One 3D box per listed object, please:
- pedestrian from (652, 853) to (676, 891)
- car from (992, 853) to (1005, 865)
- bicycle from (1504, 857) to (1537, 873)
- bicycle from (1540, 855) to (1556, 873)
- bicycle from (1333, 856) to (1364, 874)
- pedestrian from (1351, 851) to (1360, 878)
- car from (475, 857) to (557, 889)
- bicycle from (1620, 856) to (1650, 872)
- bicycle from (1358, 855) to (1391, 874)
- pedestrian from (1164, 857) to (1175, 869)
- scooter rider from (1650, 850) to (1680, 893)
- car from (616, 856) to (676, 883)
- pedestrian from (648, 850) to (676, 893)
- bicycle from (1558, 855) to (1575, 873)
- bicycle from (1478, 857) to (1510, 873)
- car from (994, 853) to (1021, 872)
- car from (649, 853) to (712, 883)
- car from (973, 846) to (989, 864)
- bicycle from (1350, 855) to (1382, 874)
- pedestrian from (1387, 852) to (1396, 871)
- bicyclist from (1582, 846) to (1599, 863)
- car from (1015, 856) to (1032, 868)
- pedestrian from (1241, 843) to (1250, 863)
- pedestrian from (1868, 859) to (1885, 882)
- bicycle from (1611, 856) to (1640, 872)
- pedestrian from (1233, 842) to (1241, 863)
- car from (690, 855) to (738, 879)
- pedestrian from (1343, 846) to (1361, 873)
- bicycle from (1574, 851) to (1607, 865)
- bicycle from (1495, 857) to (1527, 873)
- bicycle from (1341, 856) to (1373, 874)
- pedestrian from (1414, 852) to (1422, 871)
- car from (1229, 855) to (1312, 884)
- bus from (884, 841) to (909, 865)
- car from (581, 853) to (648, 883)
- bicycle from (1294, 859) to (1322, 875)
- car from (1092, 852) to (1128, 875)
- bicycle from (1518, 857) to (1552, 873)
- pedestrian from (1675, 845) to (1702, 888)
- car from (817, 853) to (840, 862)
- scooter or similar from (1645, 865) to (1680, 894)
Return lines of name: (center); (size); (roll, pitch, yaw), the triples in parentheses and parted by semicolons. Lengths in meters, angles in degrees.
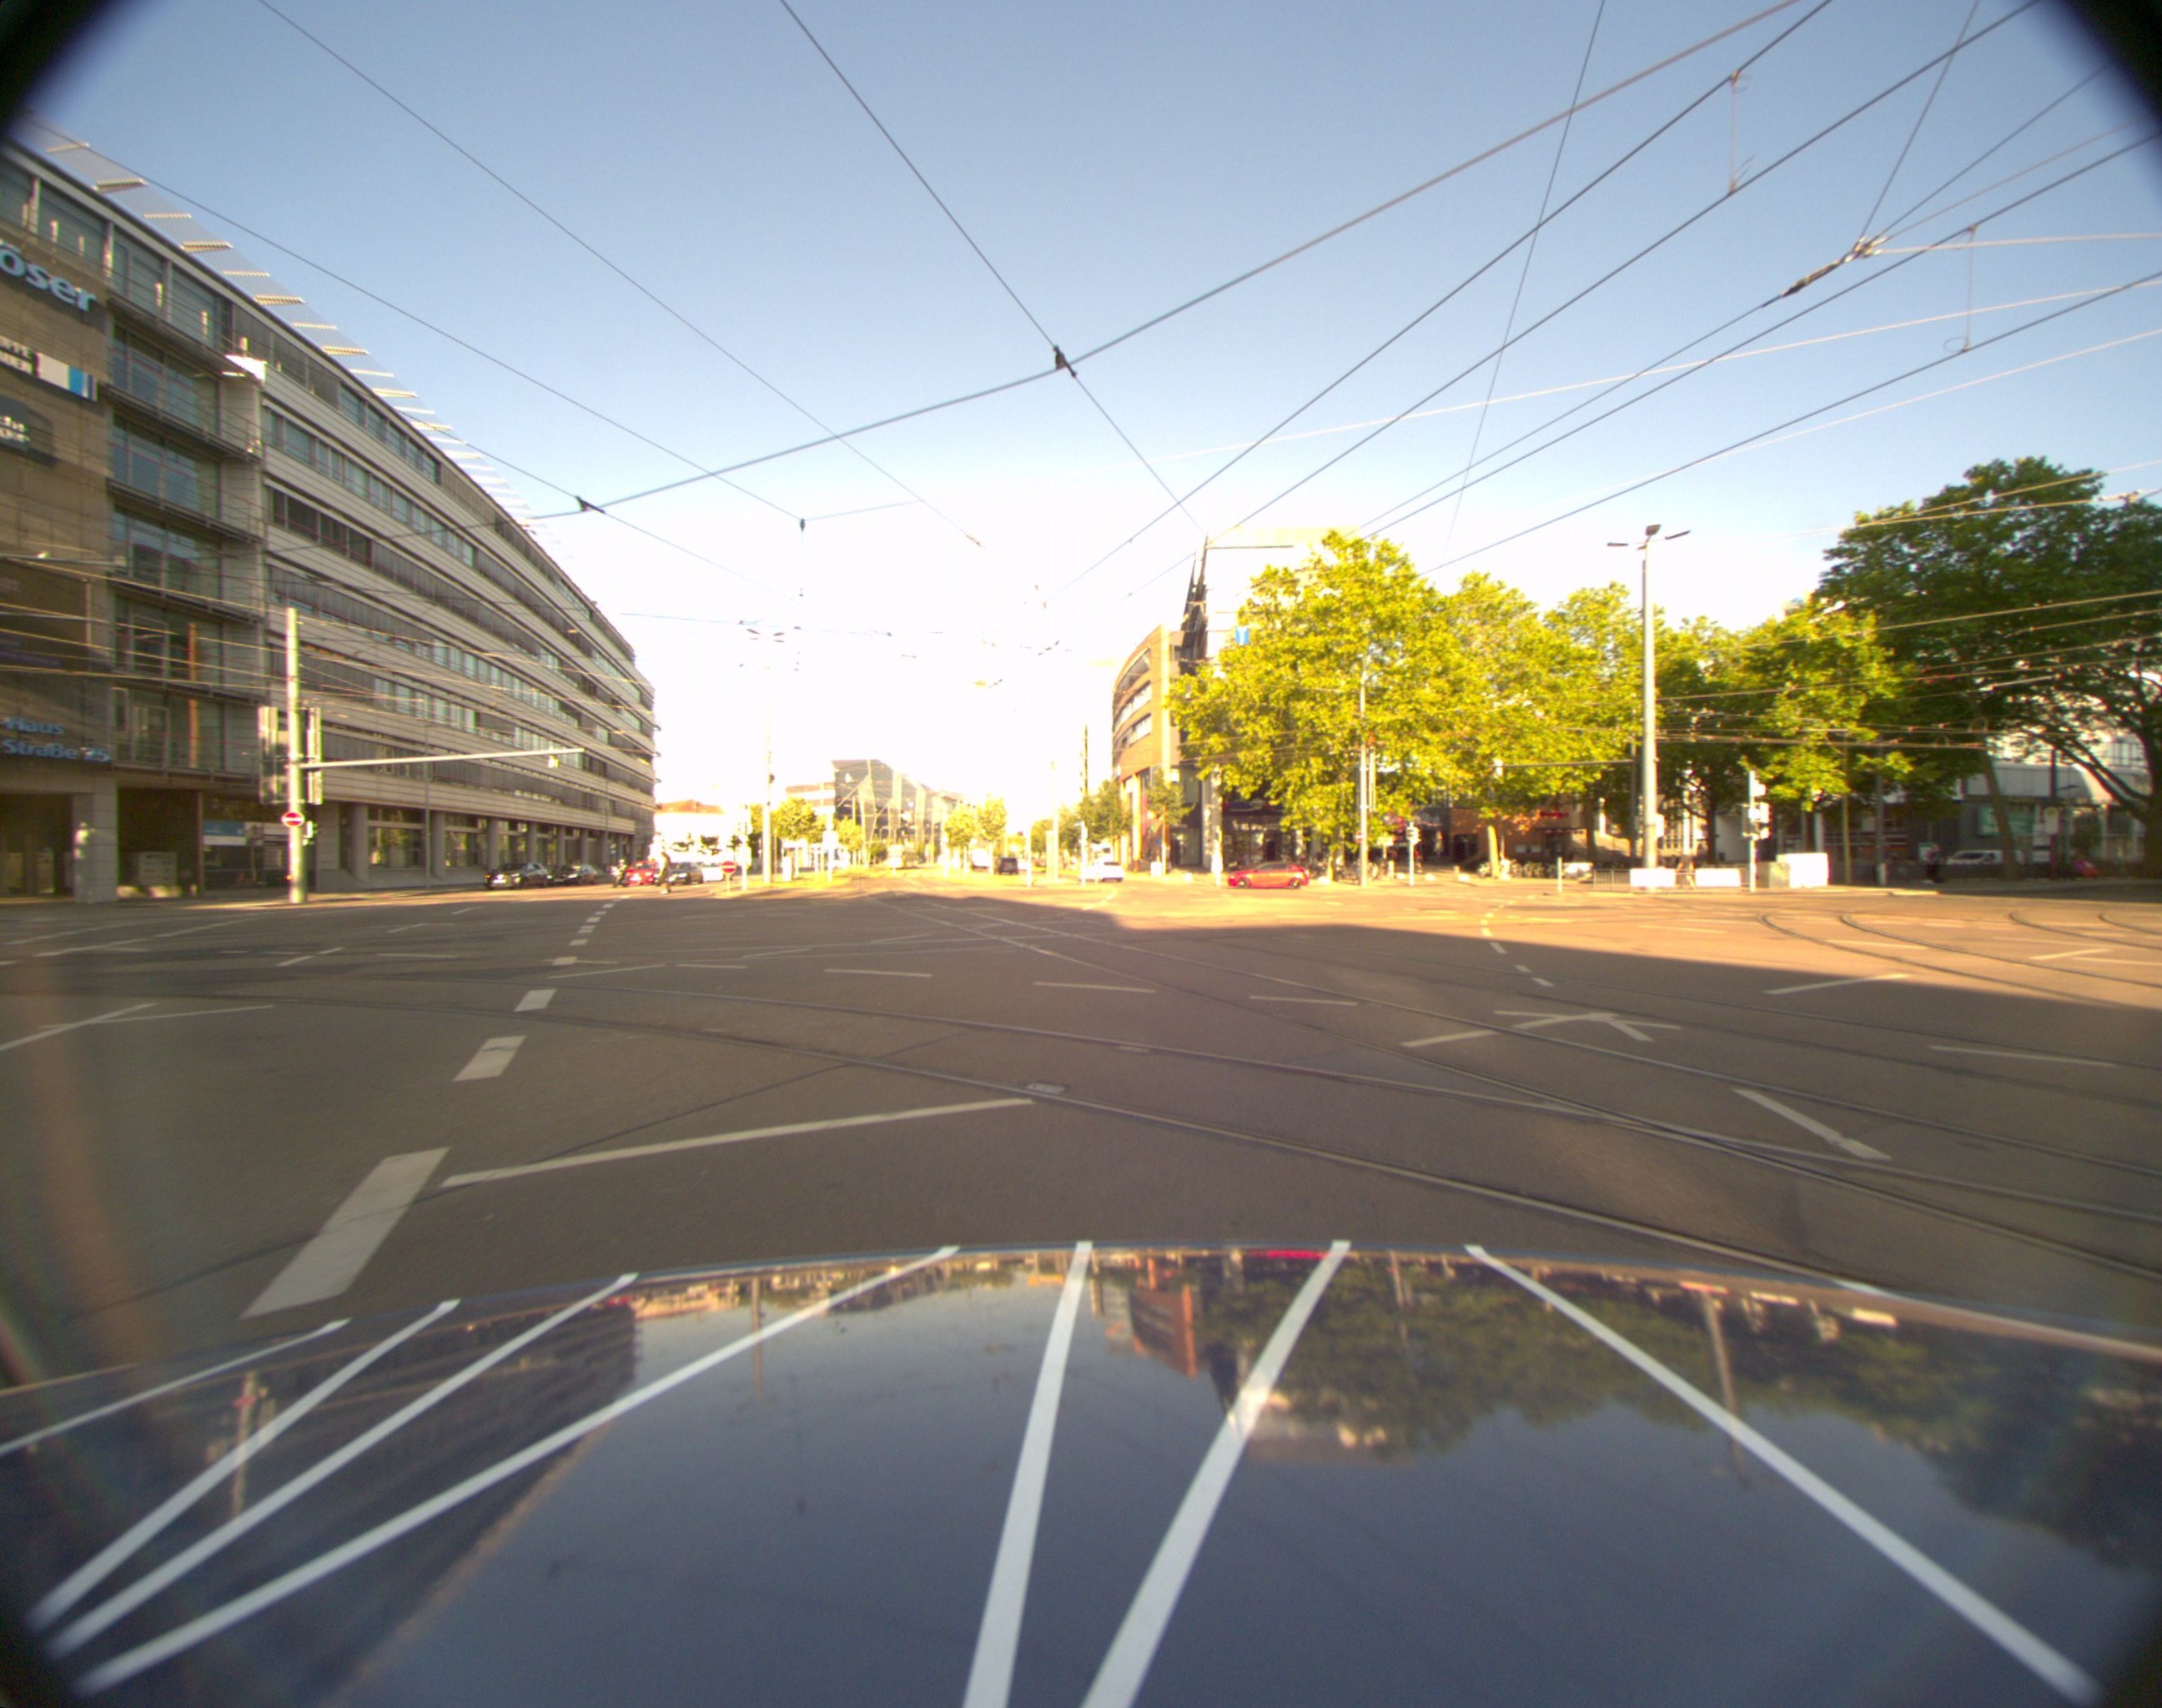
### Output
pedestrian: (-18.487, 0.785, 33.673); (0.848, 1.678, 0.646); (-1, 1, -38)
car: (-13.817, 0.817, 127.551); (1.610, 2.002, 3.887); (0, 0, 3)
bicycle: (29.734, 0.745, 51.416); (1.948, 1.057, 0.782); (0, 1, -15)
bicycle: (32.360, 0.697, 52.694); (0.781, 1.182, 3.565); (0, 1, 29)
bicycle: (17.301, 0.678, 49.153); (1.845, 1.123, 0.774); (0, 1, -19)
pedestrian: (15.673, 0.609, 43.350); (0.483, 1.529, 0.573); (0, 1, 20)
car: (-30.882, 1.013, 41.710); (1.905, 1.611, 4.168); (0, -1, -10)
bicycle: (38.680, 0.690, 53.052); (1.948, 1.057, 0.577); (0, 1, -15)
bicycle: (18.046, 0.647, 46.761); (1.845, 1.123, 0.774); (0, 1, -19)
pedestrian: (8.037, 0.821, 68.804); (0.778, 1.075, 0.680); (-1, 1, -27)
scooter rider: (24.693, 0.733, 32.134); (0.589, 1.822, 0.762); (0, 1, -10)
car: (-26.807, 0.936, 46.974); (1.905, 1.611, 4.168); (0, -1, -10)
pedestrian: (-18.204, 0.749, 33.026); (0.968, 1.832, 0.697); (-1, 1, -38)
bicycle: (33.516, 0.686, 52.449); (0.781, 1.182, 3.565); (0, 1, 29)
bicycle: (28.775, 0.769, 52.990); (1.948, 1.057, 0.782); (0, 1, -15)
car: (-6.658, 0.797, 68.464); (1.620, 1.593, 4.170); (2, -1, -16)
car: (-23.148, 0.797, 44.116); (1.905, 1.611, 4.520); (0, -1, -10)
car: (-13.747, 0.177, 104.811); (2.000, 2.465, 5.971); (0, -1, -6)
bicycle: (17.829, 0.657, 47.561); (1.845, 1.123, 0.774); (0, 1, -19)
pedestrian: (26.148, 0.631, 64.017); (0.570, 1.660, 0.543); (0, 1, -1)
bicyclist: (40.153, 0.044, 59.899); (0.957, 1.337, 0.676); (0, 1, 12)
car: (-7.825, 1.119, 103.241); (1.865, 1.622, 4.259); (0, 0, -9)
pedestrian: (13.889, -0.097, 64.115); (0.595, 1.647, 0.593); (0, 1, 3)
pedestrian: (35.619, 0.722, 34.038); (0.379, 1.026, 0.405); (-1, 1, -22)
bicycle: (38.584, 0.698, 53.841); (1.948, 1.057, 0.577); (0, 1, -15)
pedestrian: (13.120, -0.106, 63.942); (0.591, 1.745, 0.596); (0, 1, 16)
car: (-25.467, 0.907, 52.845); (1.905, 1.611, 4.168); (0, -1, -10)
pedestrian: (17.890, 0.373, 50.197); (0.894, 1.754, 0.730); (0, -1, -18)
bicycle: (40.130, 0.300, 59.893); (2.011, 1.061, 0.696); (0, 1, 11)
bicycle: (29.549, 0.755, 52.237); (1.948, 1.057, 0.782); (0, 1, -15)
bicycle: (17.545, 0.668, 48.348); (1.845, 1.123, 0.774); (0, 1, -19)
pedestrian: (28.539, 0.620, 64.333); (0.543, 1.660, 0.571); (0, 1, 14)
car: (9.604, 0.787, 38.723); (3.994, 1.419, 1.694); (0, 0, 10)
bus: (-27.170, -0.086, 111.401); (2.729, 3.388, 9.653); (0, -1, -18)
car: (-26.186, 0.784, 42.784); (1.905, 1.611, 3.863); (0, -1, -10)
bicycle: (14.900, 0.855, 49.868); (1.700, 1.030, 0.548); (0, 1, -15)
car: (1.913, 0.634, 50.576); (1.636, 1.443, 3.997); (0, 0, -9)
bicycle: (30.165, 0.732, 50.502); (1.948, 1.057, 0.782); (0, 1, -15)
pedestrian: (25.526, 0.533, 31.945); (0.673, 1.786, 0.569); (0, 1, -13)
car: (-49.731, 0.674, 149.660); (4.006, 1.849, 1.995); (0, 1, -31)
scooter or similar: (24.621, 1.073, 32.205); (0.455, 1.172, 1.159); (0, 1, -10)
